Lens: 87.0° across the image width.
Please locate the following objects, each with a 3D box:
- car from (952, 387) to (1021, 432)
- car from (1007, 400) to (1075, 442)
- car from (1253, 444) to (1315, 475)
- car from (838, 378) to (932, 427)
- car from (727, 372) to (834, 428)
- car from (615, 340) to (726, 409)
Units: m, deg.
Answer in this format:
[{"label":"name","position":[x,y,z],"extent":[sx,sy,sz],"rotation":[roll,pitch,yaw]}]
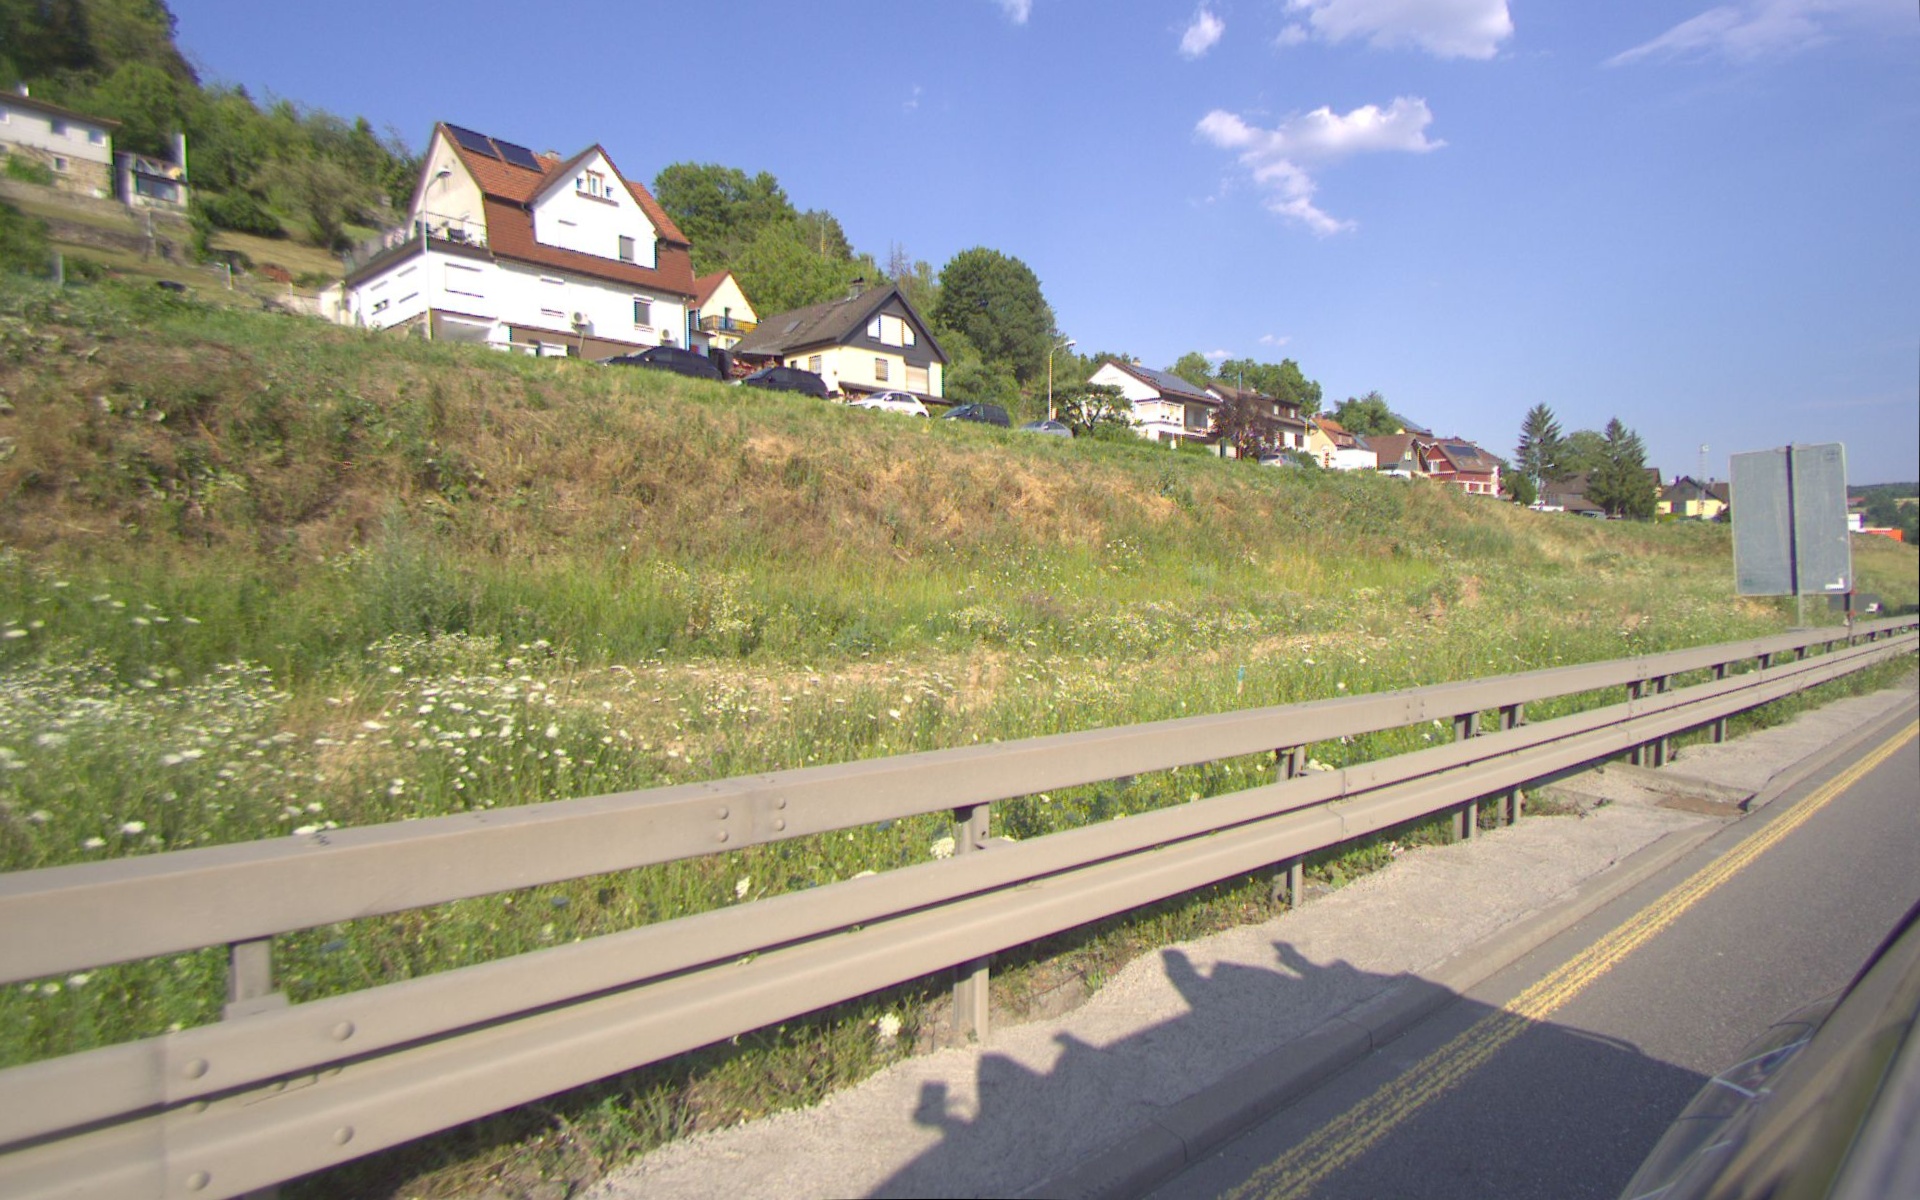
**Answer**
[{"label":"car","position":[1.163,-8.206,43.750],"extent":[1.340,1.339,3.299],"rotation":[0,1,37]},{"label":"car","position":[3.772,-8.273,46.983],"extent":[1.443,1.389,3.508],"rotation":[0,1,39]},{"label":"car","position":[20.377,-8.818,63.668],"extent":[3.930,1.460,1.997],"rotation":[-1,1,-41]},{"label":"car","position":[-2.906,-7.729,39.889],"extent":[1.342,1.248,3.842],"rotation":[0,1,42]},{"label":"car","position":[-6.254,-6.988,35.622],"extent":[1.340,1.248,3.848],"rotation":[0,1,37]},{"label":"car","position":[-9.126,-7.087,32.054],"extent":[1.356,1.476,3.185],"rotation":[0,0,41]}]
